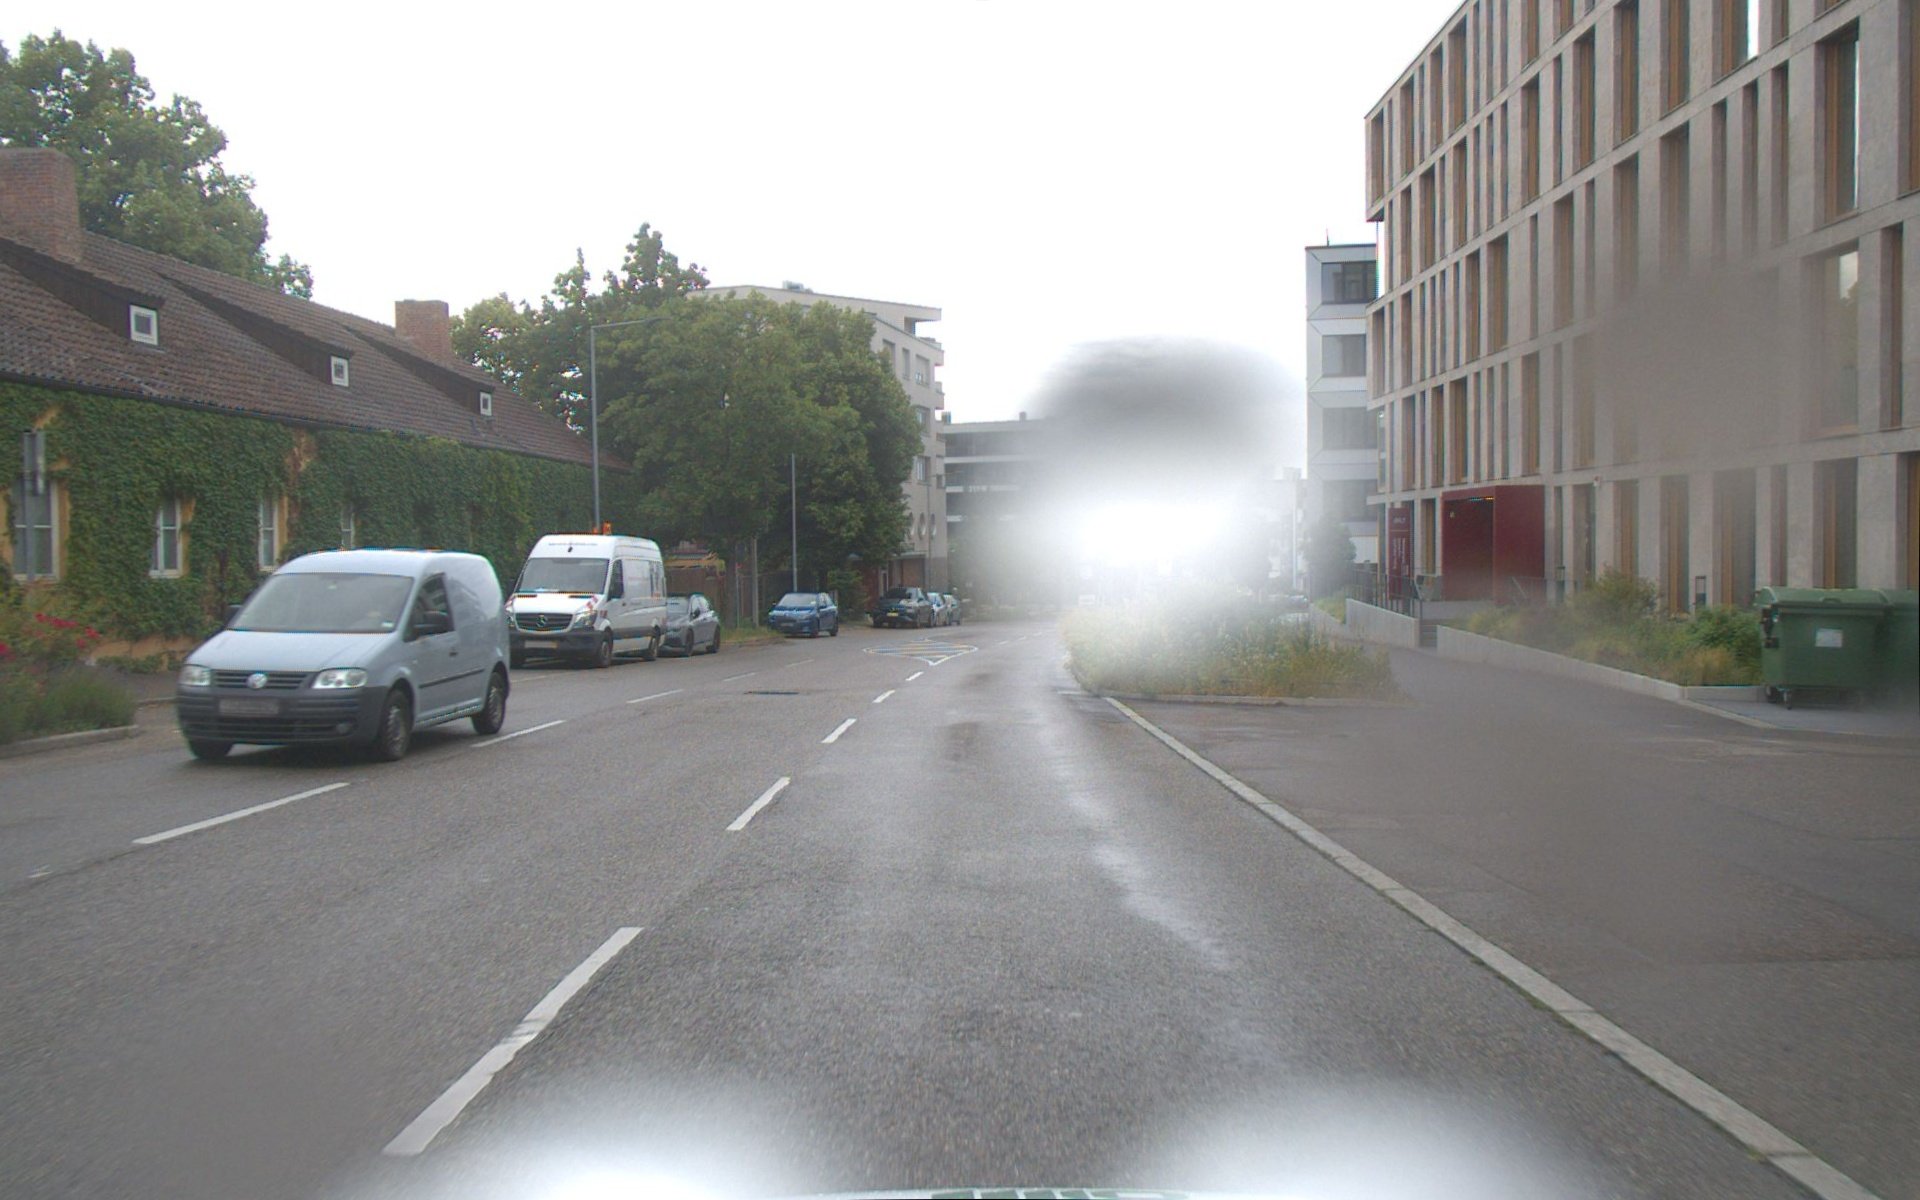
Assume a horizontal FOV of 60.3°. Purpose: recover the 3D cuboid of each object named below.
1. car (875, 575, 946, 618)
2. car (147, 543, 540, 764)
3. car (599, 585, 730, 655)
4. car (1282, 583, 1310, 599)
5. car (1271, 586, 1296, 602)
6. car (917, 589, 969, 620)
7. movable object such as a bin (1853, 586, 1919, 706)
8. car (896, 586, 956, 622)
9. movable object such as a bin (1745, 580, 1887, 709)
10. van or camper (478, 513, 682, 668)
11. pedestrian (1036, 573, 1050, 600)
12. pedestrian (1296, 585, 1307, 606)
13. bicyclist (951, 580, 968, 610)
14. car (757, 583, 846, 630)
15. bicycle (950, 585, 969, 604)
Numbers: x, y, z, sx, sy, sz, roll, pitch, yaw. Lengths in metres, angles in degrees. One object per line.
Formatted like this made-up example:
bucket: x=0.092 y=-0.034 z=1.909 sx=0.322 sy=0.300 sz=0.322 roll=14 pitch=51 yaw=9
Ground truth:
car: x=-2.105 y=-0.158 z=72.568 sx=1.951 sy=1.817 sz=5.415 roll=1 pitch=0 yaw=11
car: x=-5.474 y=0.414 z=15.402 sx=1.855 sy=1.735 sz=4.510 roll=1 pitch=0 yaw=1
car: x=-7.002 y=0.443 z=39.637 sx=1.951 sy=1.539 sz=4.426 roll=1 pitch=0 yaw=6
car: x=32.900 y=-0.845 z=161.754 sx=1.771 sy=1.510 sz=4.493 roll=1 pitch=0 yaw=23
car: x=30.698 y=-0.590 z=156.947 sx=1.515 sy=1.504 sz=3.658 roll=1 pitch=2 yaw=25
car: x=-0.817 y=0.227 z=82.519 sx=1.839 sy=1.488 sz=3.850 roll=1 pitch=0 yaw=11
movable object such as a bin: x=11.905 y=0.580 z=20.516 sx=1.074 sy=1.424 sz=1.151 roll=3 pitch=0 yaw=10
car: x=-1.567 y=0.185 z=78.107 sx=1.947 sy=1.621 sz=4.494 roll=1 pitch=0 yaw=10
movable object such as a bin: x=10.620 y=0.539 z=20.573 sx=1.220 sy=1.483 sz=1.112 roll=3 pitch=0 yaw=11
van or camper: x=-7.490 y=-0.224 z=33.421 sx=2.291 sy=2.813 sz=6.146 roll=1 pitch=1 yaw=4
pedestrian: x=6.260 y=-1.036 z=125.058 sx=1.033 sy=2.049 sz=1.100 roll=1 pitch=0 yaw=3
pedestrian: x=30.829 y=-0.399 z=149.213 sx=0.805 sy=1.827 sz=1.208 roll=0 pitch=0 yaw=18
bicyclist: x=-0.037 y=-0.253 z=86.232 sx=0.784 sy=1.549 sz=1.202 roll=1 pitch=0 yaw=5
car: x=-5.245 y=0.209 z=55.209 sx=1.951 sy=1.495 sz=4.189 roll=1 pitch=0 yaw=9
bicycle: x=-0.035 y=-0.292 z=86.178 sx=0.785 sy=0.996 sz=2.256 roll=1 pitch=0 yaw=5
